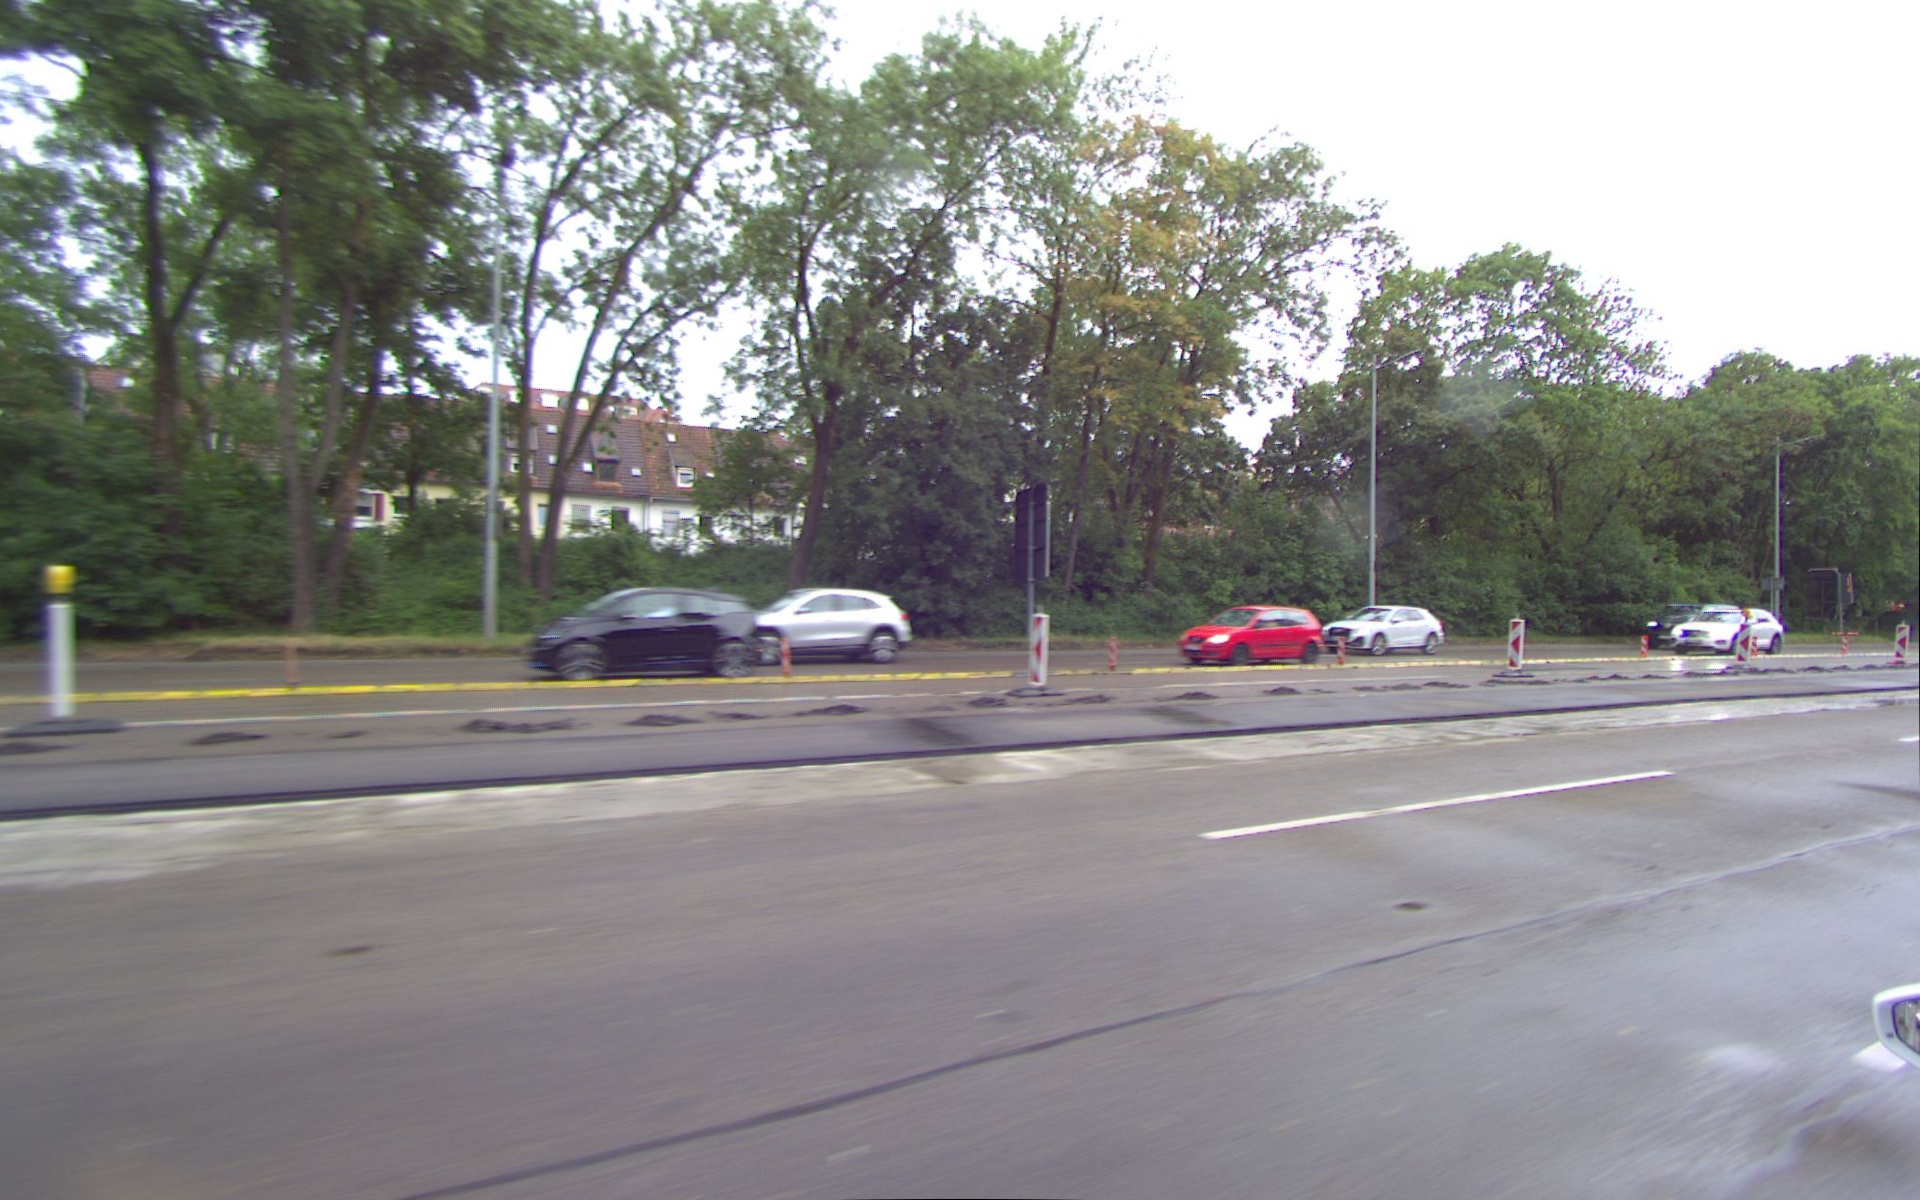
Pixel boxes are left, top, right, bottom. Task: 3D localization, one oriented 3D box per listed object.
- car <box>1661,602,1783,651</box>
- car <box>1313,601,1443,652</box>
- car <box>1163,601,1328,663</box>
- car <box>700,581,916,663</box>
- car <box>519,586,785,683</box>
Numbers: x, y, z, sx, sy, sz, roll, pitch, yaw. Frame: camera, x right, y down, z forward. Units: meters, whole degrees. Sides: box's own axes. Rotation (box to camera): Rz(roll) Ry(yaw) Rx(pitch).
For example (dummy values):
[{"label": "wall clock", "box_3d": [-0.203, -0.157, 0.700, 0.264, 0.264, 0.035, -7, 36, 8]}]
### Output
[{"label": "car", "box_3d": [27.988, 0.961, 36.853, 4.836, 1.683, 1.881, 1, 1, -31]}, {"label": "car", "box_3d": [13.193, 0.838, 31.645, 4.100, 1.516, 1.671, 1, -2, -30]}, {"label": "car", "box_3d": [7.129, 0.765, 24.999, 3.965, 1.419, 1.671, 1, 1, -30]}, {"label": "car", "box_3d": [-3.296, 0.464, 22.072, 4.368, 1.649, 1.693, 1, 1, -31]}, {"label": "car", "box_3d": [-5.330, 0.547, 17.526, 4.148, 1.507, 1.767, 1, 1, -31]}]
